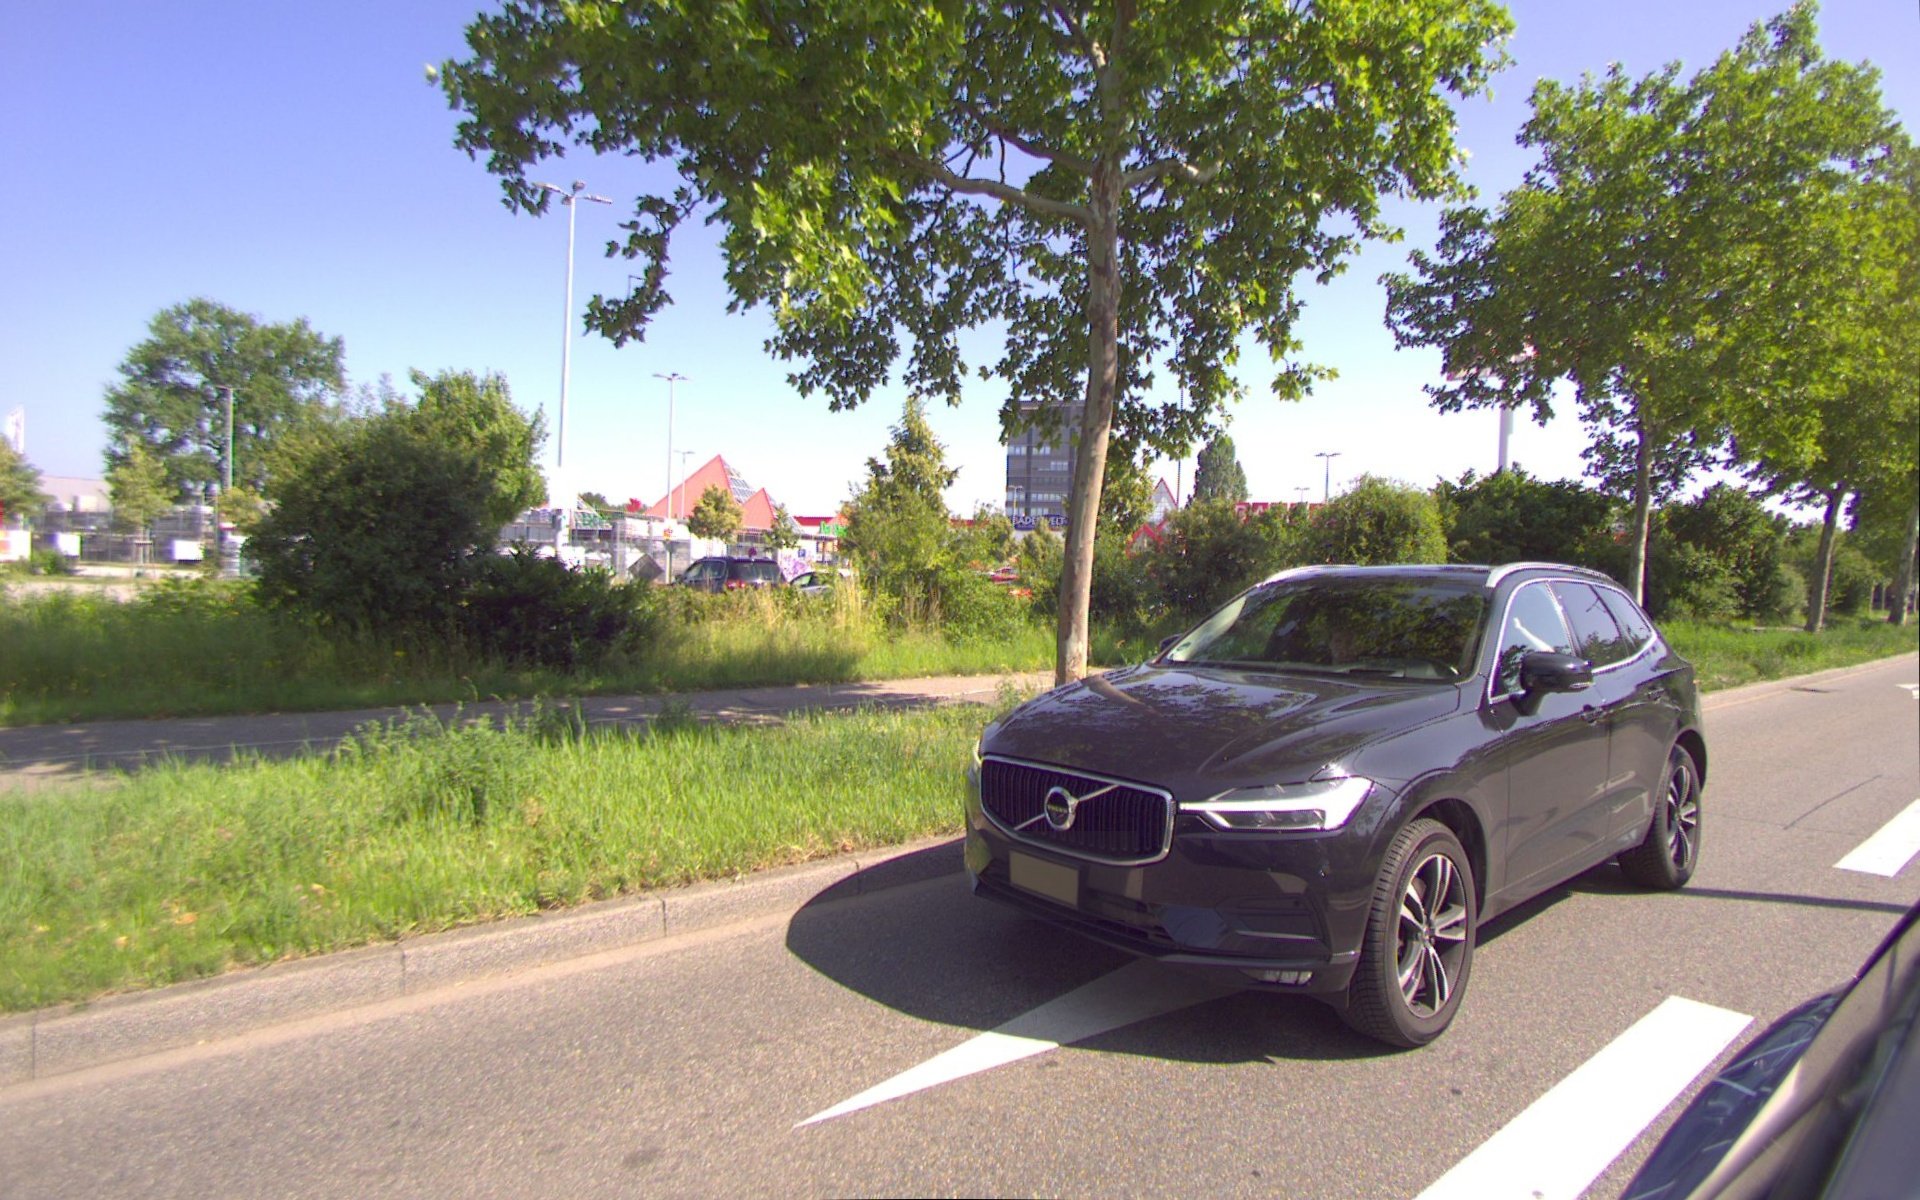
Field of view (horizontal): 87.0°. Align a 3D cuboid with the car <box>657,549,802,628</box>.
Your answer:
[{"bbox_3d":[-5.463,-0.288,23.787,3.549,1.717,1.692,1,1,45],"label":"car"}]

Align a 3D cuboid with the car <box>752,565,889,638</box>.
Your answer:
[{"bbox_3d":[-3.622,-0.001,25.963,3.549,1.717,1.692,1,1,45],"label":"car"}]

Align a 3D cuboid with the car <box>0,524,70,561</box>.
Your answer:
[{"bbox_3d":[-55.959,-3.370,60.107,1.971,2.039,4.370,0,1,15],"label":"car"}]

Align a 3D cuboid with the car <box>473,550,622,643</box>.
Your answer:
[{"bbox_3d":[-8.408,-0.097,20.483,1.690,1.717,3.552,0,1,-42],"label":"car"}]

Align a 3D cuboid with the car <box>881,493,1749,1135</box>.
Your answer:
[{"bbox_3d":[1.996,0.515,4.797,4.485,1.642,1.923,-1,1,-41],"label":"car"}]
